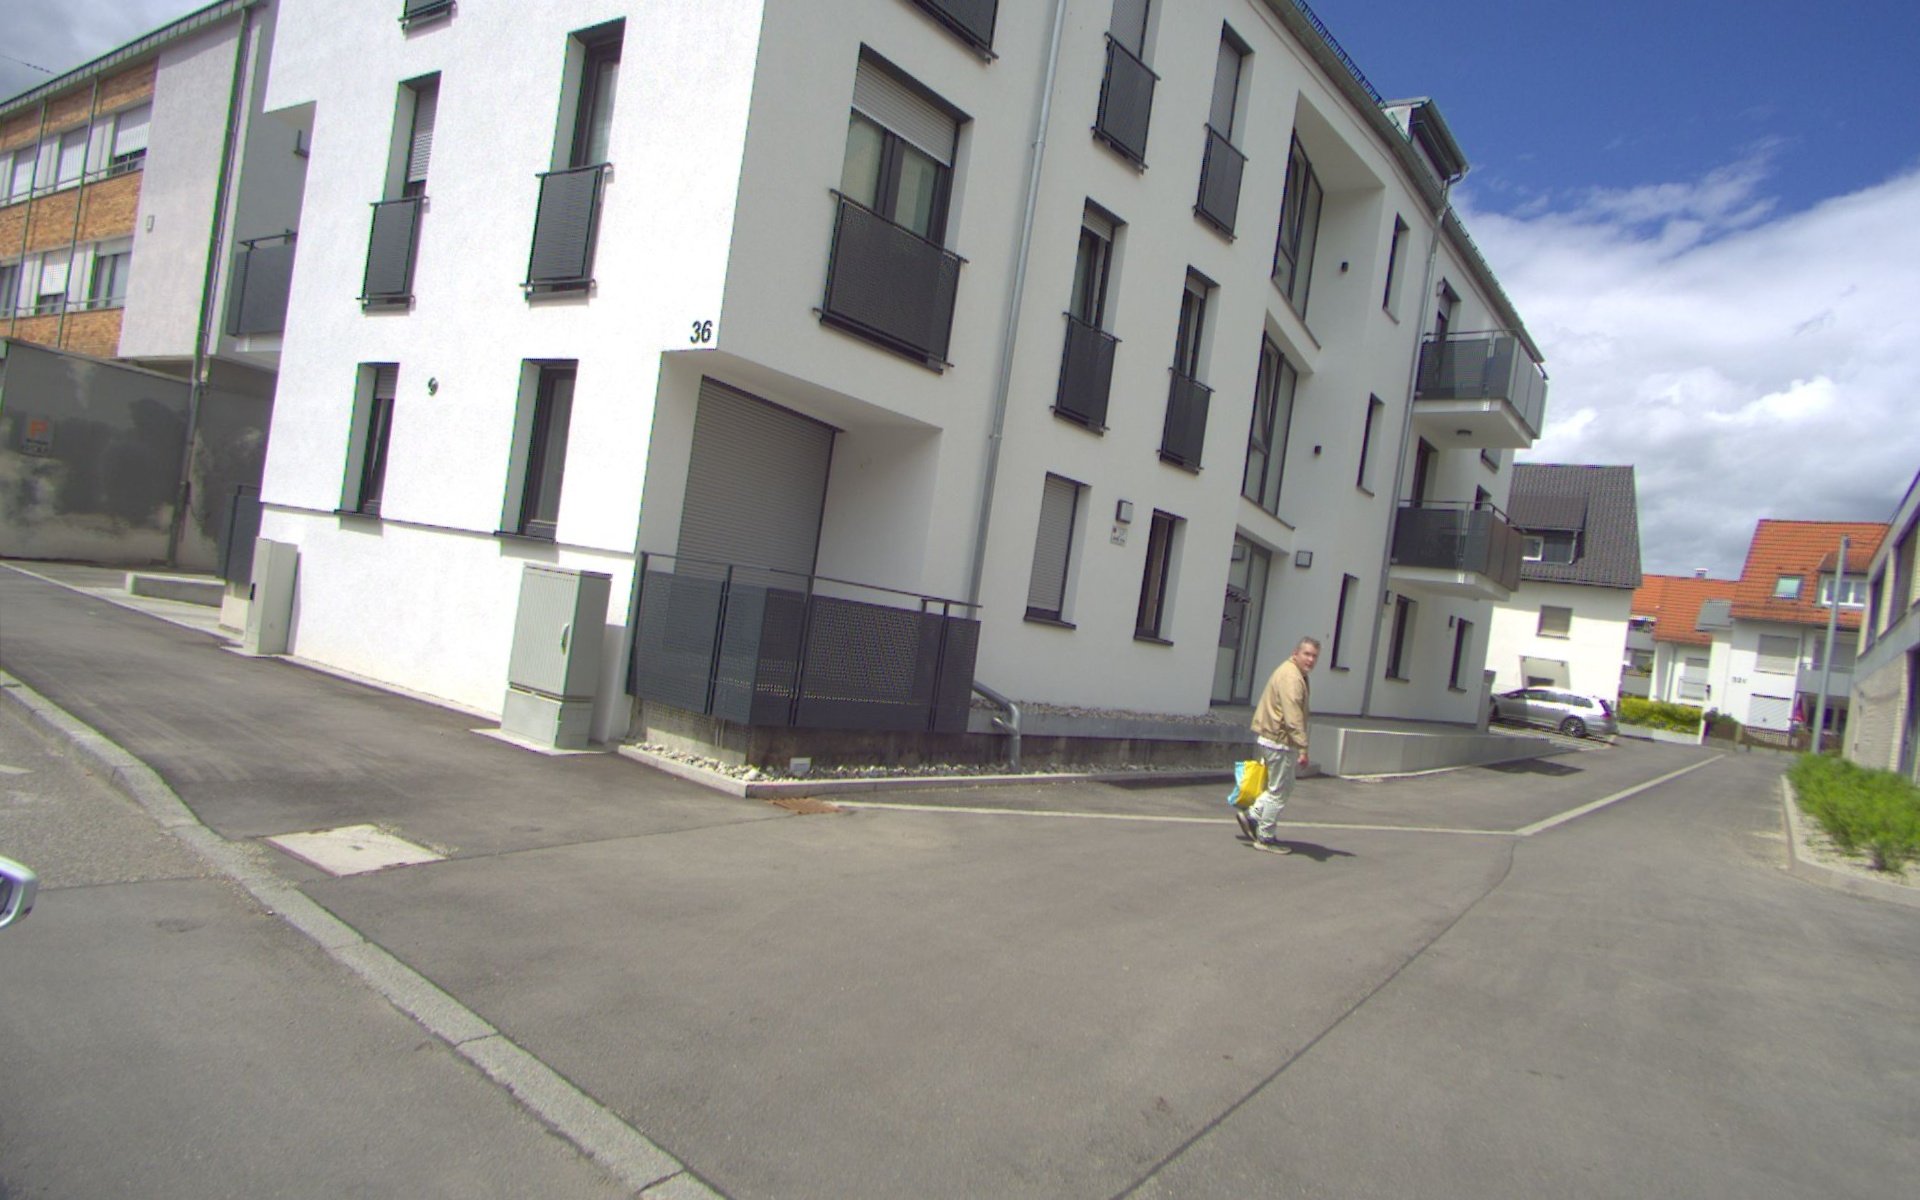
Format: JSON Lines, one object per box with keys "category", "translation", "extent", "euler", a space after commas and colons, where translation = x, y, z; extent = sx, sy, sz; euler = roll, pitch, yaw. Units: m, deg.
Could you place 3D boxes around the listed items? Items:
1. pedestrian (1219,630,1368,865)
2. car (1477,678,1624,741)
{"category": "pedestrian", "translation": [2.546, 1.107, 7.740], "extent": [0.607, 1.667, 0.736], "euler": [6, 0, -19]}
{"category": "car", "translation": [19.901, 3.666, 33.968], "extent": [3.943, 1.503, 1.777], "euler": [6, -1, 40]}
